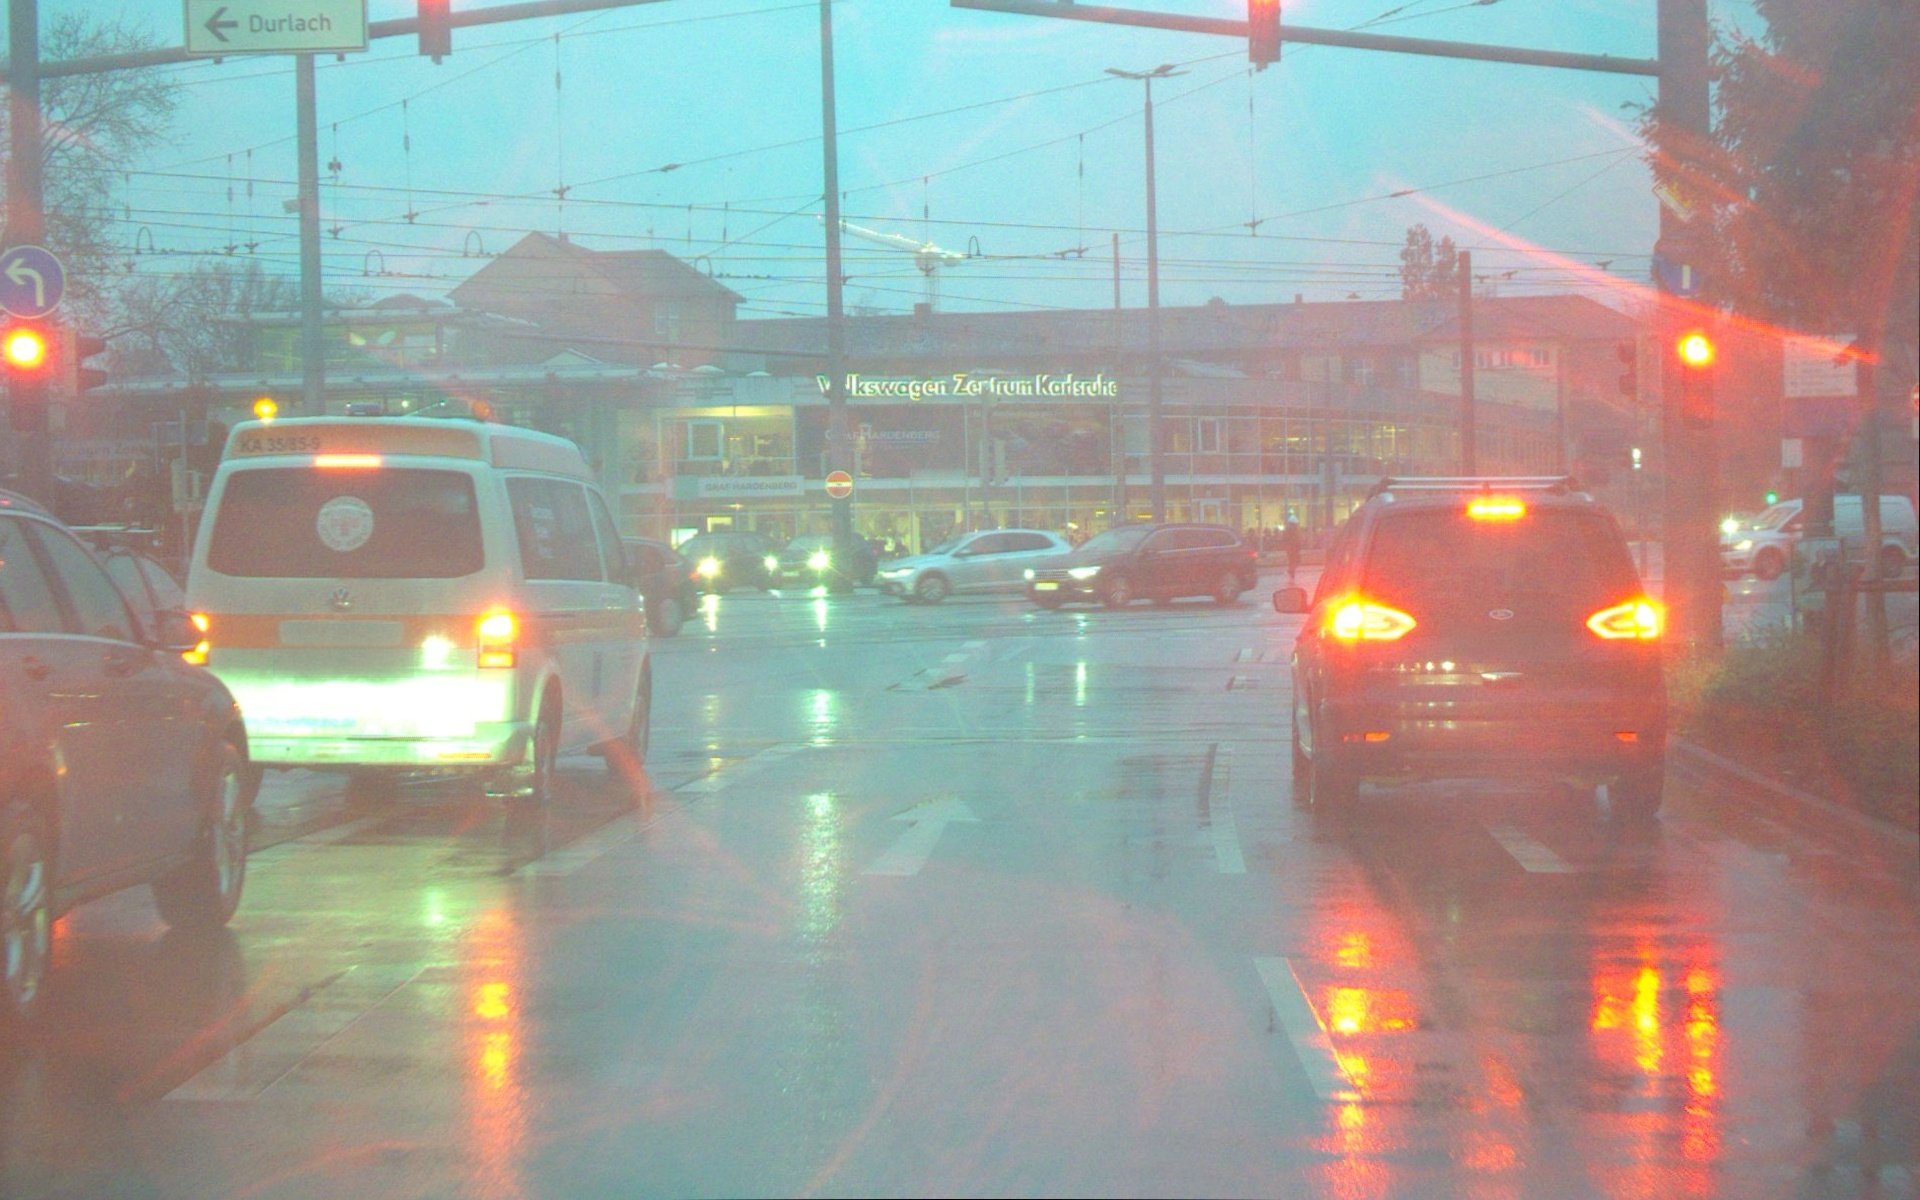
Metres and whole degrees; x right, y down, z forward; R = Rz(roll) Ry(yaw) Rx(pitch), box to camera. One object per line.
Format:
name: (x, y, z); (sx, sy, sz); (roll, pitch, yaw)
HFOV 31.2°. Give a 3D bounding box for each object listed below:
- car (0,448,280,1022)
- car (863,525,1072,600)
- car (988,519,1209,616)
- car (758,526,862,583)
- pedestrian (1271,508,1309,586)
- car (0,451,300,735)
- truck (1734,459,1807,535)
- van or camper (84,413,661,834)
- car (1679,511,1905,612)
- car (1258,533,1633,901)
car: (-3.545, 0.330, 11.042); (1.785, 1.595, 4.541); (1, 1, 0)
car: (0.130, -0.759, 68.198); (3.803, 1.362, 1.852); (-2, 1, -12)
car: (2.451, -0.583, 60.016); (1.997, 1.597, 3.992); (-1, 1, 35)
car: (-3.950, -1.215, 91.061); (1.814, 1.441, 3.998); (-1, 1, 11)
pedestrian: (7.834, -1.252, 81.697); (0.591, 1.834, 0.619); (-2, 1, -32)
car: (-5.859, -0.074, 23.479); (1.885, 1.766, 4.000); (0, 1, 1)
truck: (29.814, -3.756, 126.379); (1.995, 2.682, 5.110); (-1, 1, 20)
van or camper: (-3.172, 0.072, 19.759); (2.202, 2.102, 4.987); (0, 1, 3)
car: (17.687, -0.830, 73.250); (4.404, 2.007, 1.911); (-2, 1, 5)
car: (2.606, 0.542, 19.335); (1.778, 1.794, 4.424); (0, 2, 4)
